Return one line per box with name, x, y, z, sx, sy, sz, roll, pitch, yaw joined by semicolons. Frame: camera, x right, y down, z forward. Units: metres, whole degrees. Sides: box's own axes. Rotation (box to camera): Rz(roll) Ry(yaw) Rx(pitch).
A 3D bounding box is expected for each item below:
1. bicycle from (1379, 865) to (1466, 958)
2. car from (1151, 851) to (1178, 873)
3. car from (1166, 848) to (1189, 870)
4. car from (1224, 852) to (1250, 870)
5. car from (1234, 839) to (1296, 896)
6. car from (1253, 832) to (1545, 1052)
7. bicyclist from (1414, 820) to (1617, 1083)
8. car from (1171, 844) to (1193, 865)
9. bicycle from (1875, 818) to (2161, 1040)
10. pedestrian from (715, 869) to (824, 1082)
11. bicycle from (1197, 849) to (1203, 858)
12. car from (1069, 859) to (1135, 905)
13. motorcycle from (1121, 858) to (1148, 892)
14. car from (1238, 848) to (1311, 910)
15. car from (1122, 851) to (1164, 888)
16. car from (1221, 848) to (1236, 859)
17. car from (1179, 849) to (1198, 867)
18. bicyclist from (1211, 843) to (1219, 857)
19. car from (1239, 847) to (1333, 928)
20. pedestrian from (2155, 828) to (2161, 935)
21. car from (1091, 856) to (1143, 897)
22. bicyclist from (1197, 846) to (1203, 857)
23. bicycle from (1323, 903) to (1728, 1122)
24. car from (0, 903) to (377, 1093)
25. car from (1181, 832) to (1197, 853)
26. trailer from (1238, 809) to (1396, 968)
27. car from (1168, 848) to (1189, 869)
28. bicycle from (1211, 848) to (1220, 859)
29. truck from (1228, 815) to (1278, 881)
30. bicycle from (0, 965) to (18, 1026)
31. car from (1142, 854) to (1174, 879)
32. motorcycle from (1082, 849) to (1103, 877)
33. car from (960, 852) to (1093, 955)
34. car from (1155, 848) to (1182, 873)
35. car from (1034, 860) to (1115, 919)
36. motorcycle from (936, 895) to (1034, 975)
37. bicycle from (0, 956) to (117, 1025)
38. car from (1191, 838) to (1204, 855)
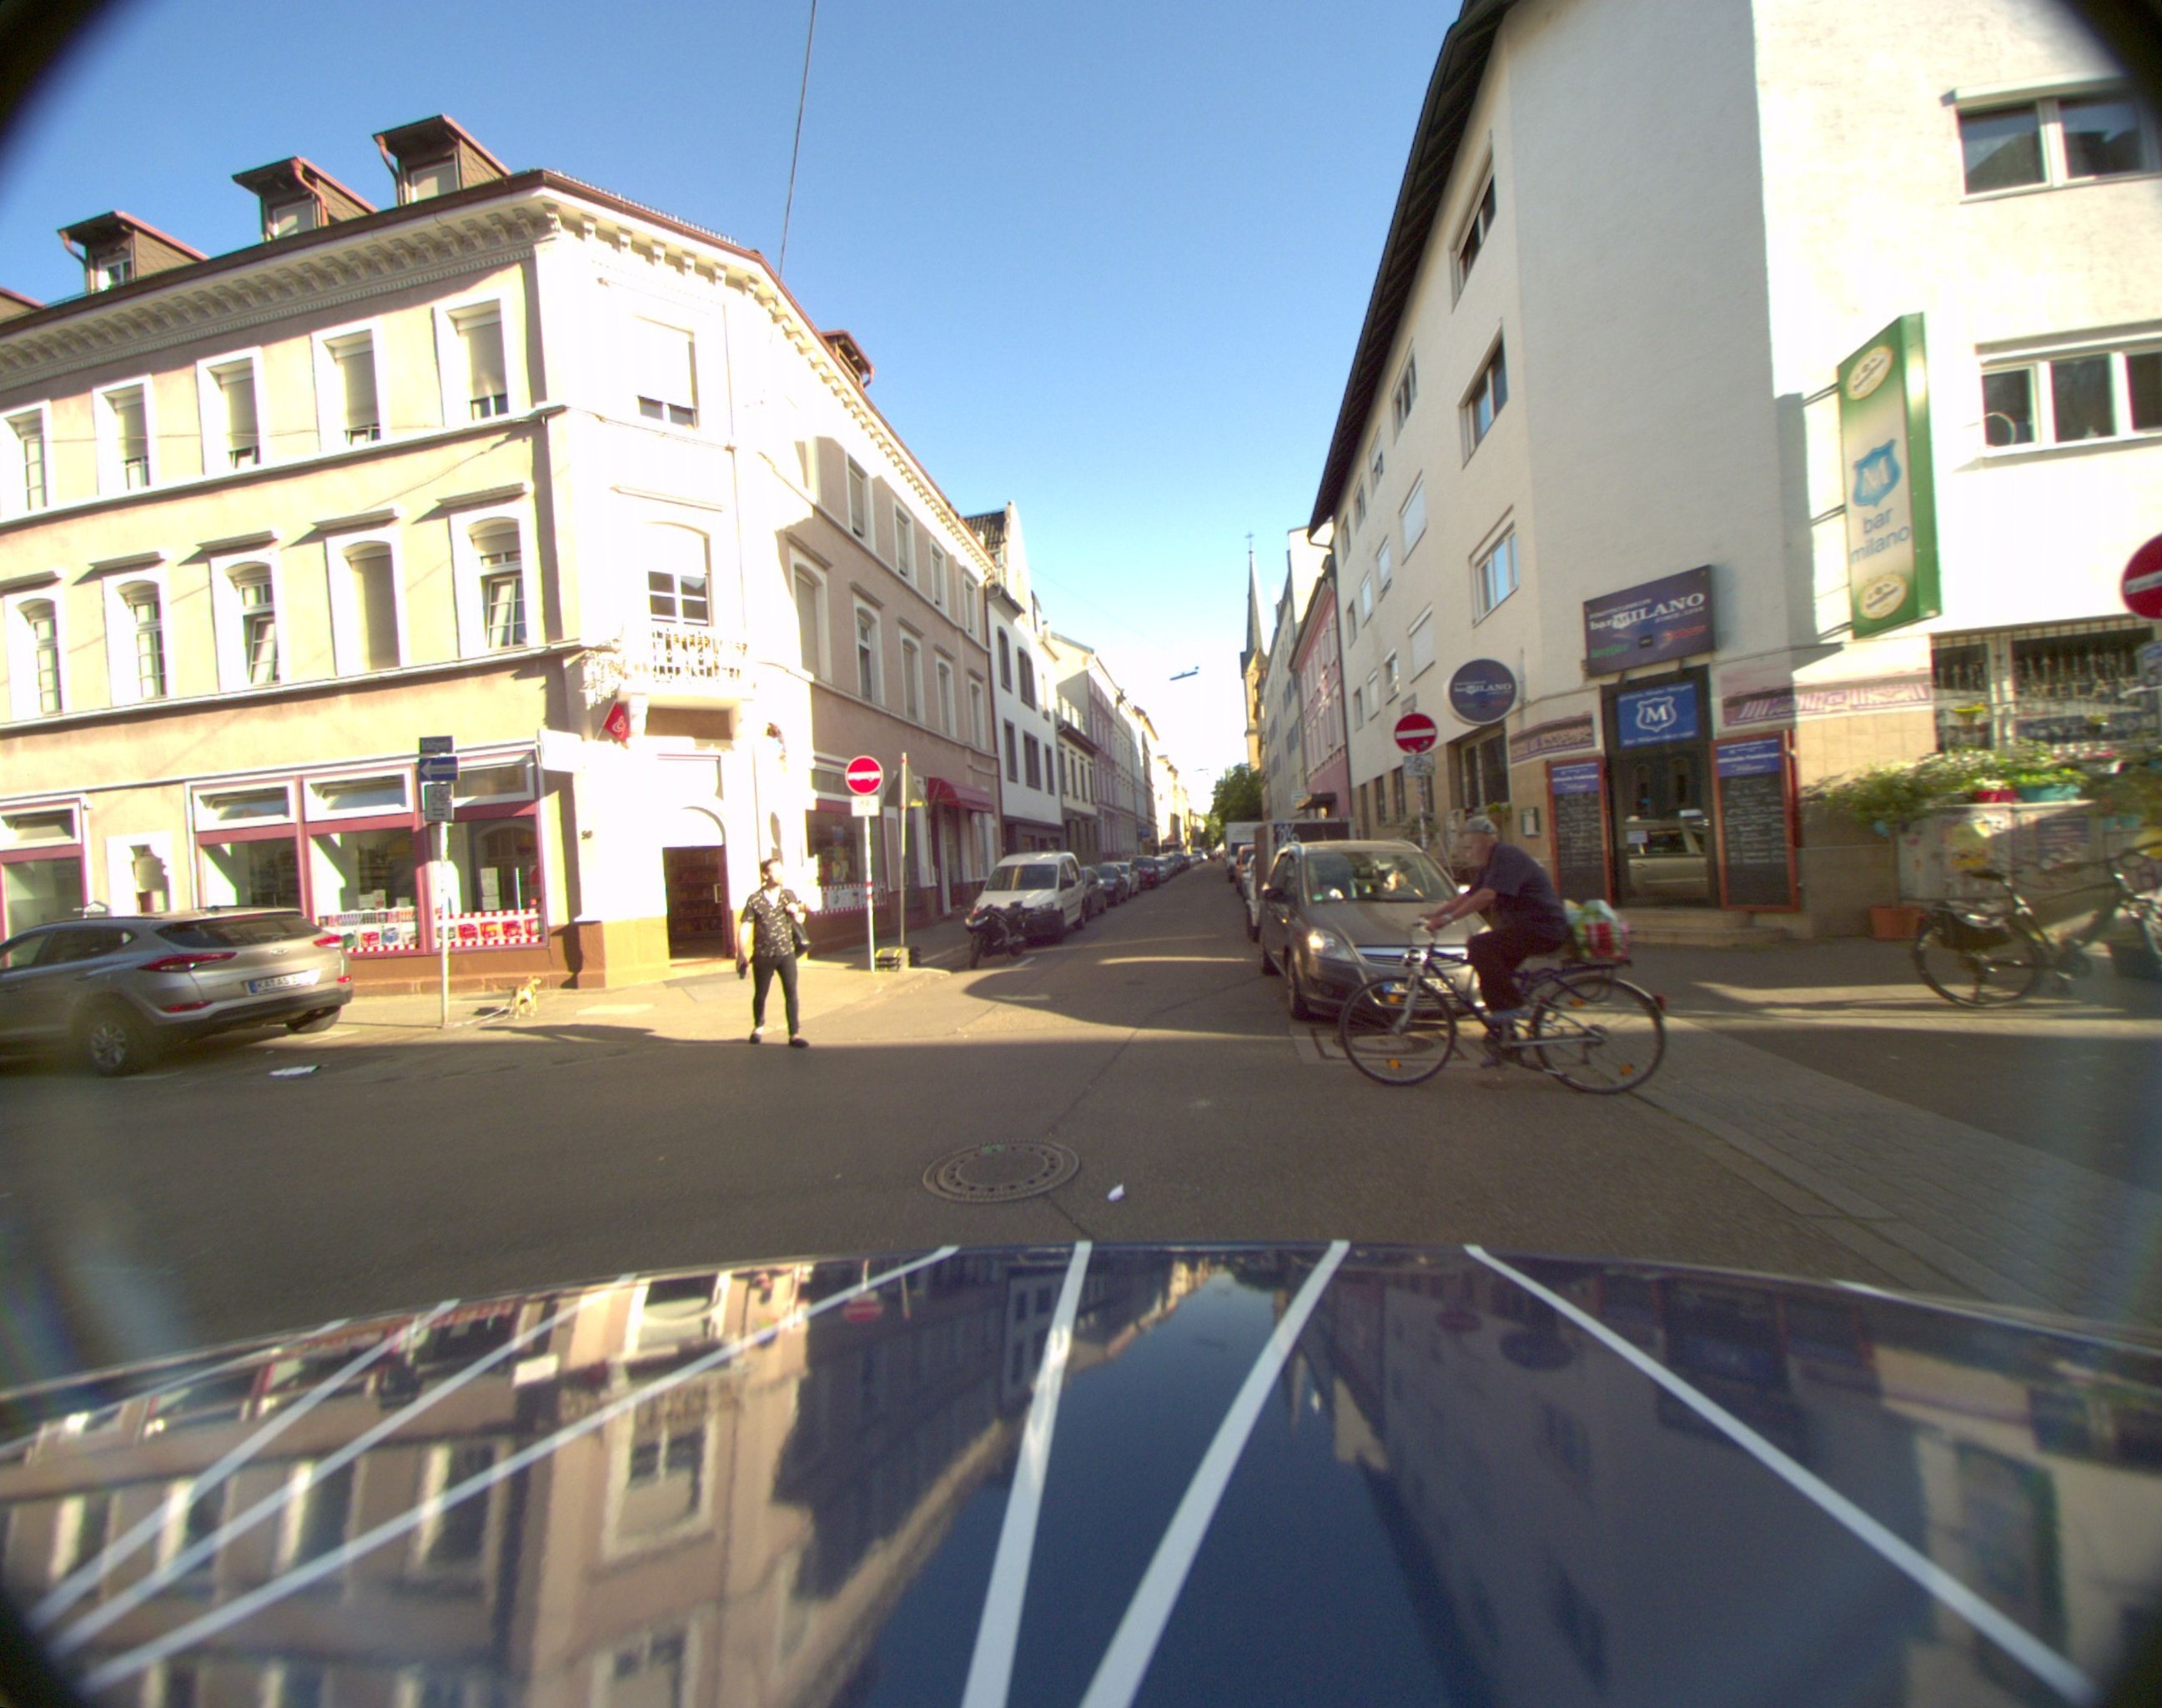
bicycle;4.729;0.759;10.619;0.577;1.132;1.462;-5;1;5
car;6.029;0.540;54.291;1.611;1.444;3.884;-2;1;10
car;8.324;0.374;65.564;1.712;1.721;4.223;-2;1;10
car;15.132;0.646;73.943;1.925;1.522;4.566;-5;0;7
car;6.527;0.411;27.327;1.805;1.834;4.246;-3;1;10
car;2.802;0.661;7.695;1.725;1.596;4.169;-2;0;9
bicyclist;2.556;0.548;4.565;0.788;1.427;0.711;-4;1;9
car;10.607;0.011;79.463;1.997;2.002;4.566;-5;0;8
bicycle;7.302;0.458;5.188;2.480;1.351;0.929;-4;1;11
pedestrian;-2.917;1.063;7.141;0.829;1.782;0.988;-2;2;-23
bicycle;18.504;-0.071;118.198;0.728;1.173;2.490;-5;0;8
car;0.835;0.957;27.361;1.735;1.388;3.884;-2;1;10
motorcycle;2.533;0.955;35.757;0.989;1.481;2.269;-2;1;10
car;5.483;0.634;22.022;1.676;1.488;4.533;-2;1;10
car;3.319;0.756;39.790;1.712;1.721;4.410;-2;1;10
car;22.883;-0.129;118.028;1.925;1.522;4.566;-5;0;7
car;12.958;0.462;91.871;1.998;2.002;4.566;-5;0;7
bicyclist;21.954;-0.653;124.731;1.019;2.280;1.532;-5;1;6
car;4.530;0.664;17.235;1.679;1.546;3.820;-2;1;10
pedestrian;9.034;0.398;5.781;0.687;1.259;0.660;-5;1;14
car;1.564;0.899;31.851;1.619;1.495;3.775;-2;1;10
bicyclist;18.480;-0.413;118.218;0.715;1.650;0.877;-5;1;8
bicycle;2.545;0.928;4.575;1.932;1.105;0.711;-4;1;9
car;-10.808;1.602;8.690;4.066;1.623;1.857;-4;2;11
car;15.459;-1.604;109.268;1.998;2.777;4.566;-5;1;7
trailer;3.542;0.425;12.150;1.665;2.049;4.366;-2;1;8
car;9.127;0.395;70.823;1.712;1.802;4.223;-2;1;10
bicycle;22.036;-0.061;124.834;1.019;1.641;3.549;-5;0;6
truck;9.320;-0.374;41.472;2.295;3.165;7.049;-3;1;12
bicycle;-19.103;2.469;12.899;1.643;1.003;0.456;-5;1;8
car;4.881;0.745;47.737;1.611;1.388;3.884;-2;1;10
motorcycle;0.606;0.470;40.259;0.666;1.388;2.039;-5;1;10
car;-0.986;0.931;16.335;1.751;1.806;4.372;-2;1;10
car;6.822;0.465;58.965;1.712;1.721;4.223;-2;1;10
car;-0.093;0.957;22.000;1.611;1.400;3.884;-2;1;10
motorcycle;-1.572;1.327;12.851;0.719;1.080;1.999;-2;1;21
bicycle;-17.318;2.297;12.836;1.643;1.003;0.456;-4;1;8
car;20.675;-1.339;134.836;1.998;2.777;4.566;-5;1;7
